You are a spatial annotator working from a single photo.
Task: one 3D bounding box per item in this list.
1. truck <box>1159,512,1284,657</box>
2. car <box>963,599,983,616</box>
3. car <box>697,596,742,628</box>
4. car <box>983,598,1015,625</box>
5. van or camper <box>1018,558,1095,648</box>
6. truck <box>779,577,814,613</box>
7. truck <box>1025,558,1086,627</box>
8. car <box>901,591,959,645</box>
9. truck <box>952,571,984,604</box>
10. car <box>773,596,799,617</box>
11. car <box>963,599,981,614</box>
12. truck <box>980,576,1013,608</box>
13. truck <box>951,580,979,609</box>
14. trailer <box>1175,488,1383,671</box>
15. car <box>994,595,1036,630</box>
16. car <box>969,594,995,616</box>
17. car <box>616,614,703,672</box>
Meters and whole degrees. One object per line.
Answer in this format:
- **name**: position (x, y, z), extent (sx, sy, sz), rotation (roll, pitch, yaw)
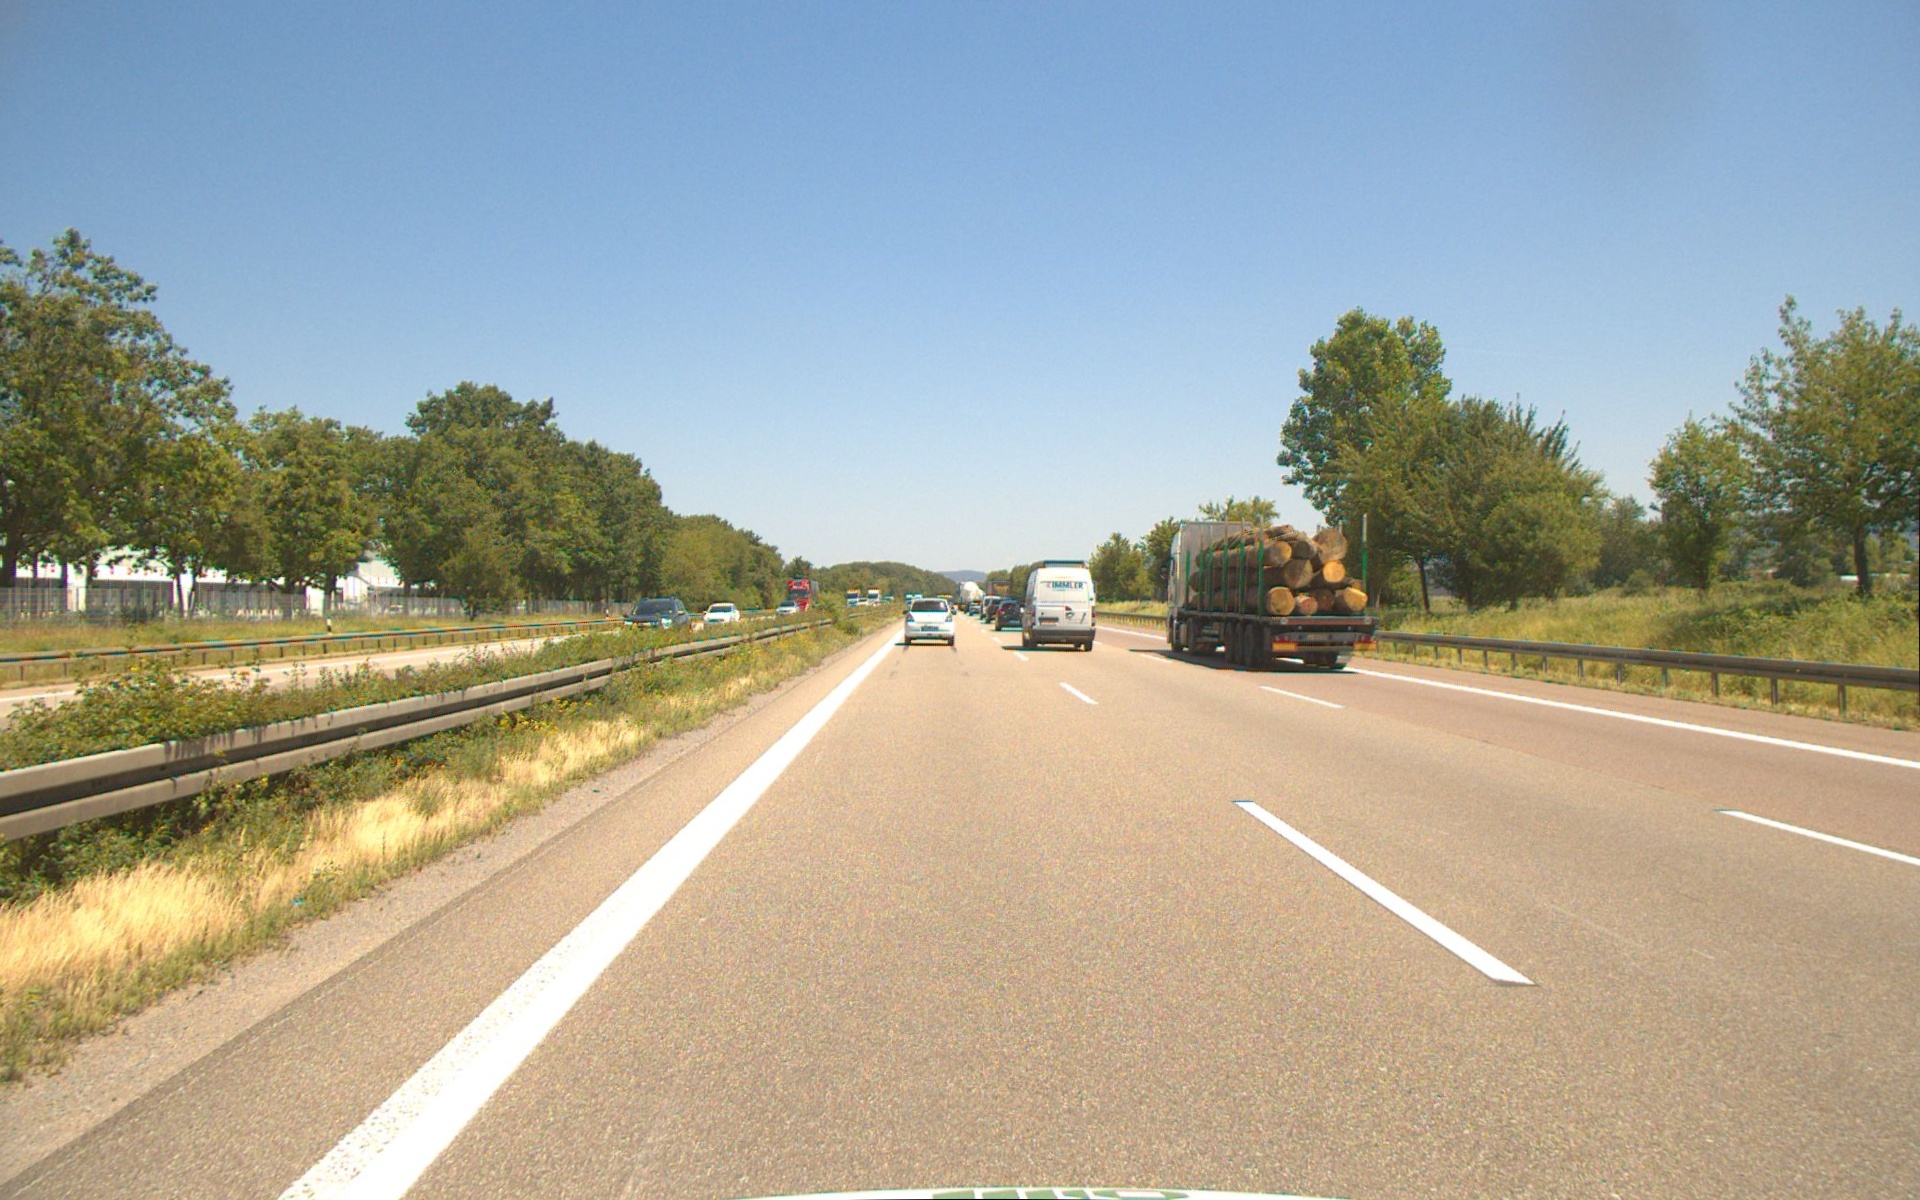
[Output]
- **truck**: position (7.849, -0.447, 50.404), extent (2.615, 4.064, 6.635), rotation (1, 0, -1)
- **car**: position (1.262, 0.715, 161.744), extent (1.820, 1.681, 3.998), rotation (1, 0, -2)
- **car**: position (-13.942, 0.687, 95.934), extent (1.954, 1.668, 4.857), rotation (-4, 0, -2)
- **car**: position (2.509, 0.756, 107.658), extent (1.820, 1.681, 3.998), rotation (1, 0, -2)
- **van or camper**: position (3.017, 0.094, 52.917), extent (2.016, 2.668, 5.984), rotation (1, 0, -1)
- **truck**: position (-19.038, -0.624, 193.276), extent (3.369, 3.999, 6.219), rotation (-2, 0, -1)
- **truck**: position (6.328, -0.467, 112.518), extent (3.016, 4.282, 16.841), rotation (2, 0, 0)
- **car**: position (-1.030, 0.585, 55.525), extent (1.820, 1.681, 3.998), rotation (2, 0, -2)
- **truck**: position (0.990, -1.665, 225.970), extent (3.193, 4.282, 16.832), rotation (2, 0, -3)
- **car**: position (-15.155, 0.571, 144.231), extent (1.808, 1.711, 4.813), rotation (-2, 0, -1)
- **car**: position (1.316, 0.701, 186.538), extent (1.820, 1.681, 3.998), rotation (1, 0, -2)
- **truck**: position (5.046, -1.136, 233.384), extent (3.193, 4.282, 16.832), rotation (2, 0, -3)
- **truck**: position (0.738, -0.784, 258.515), extent (3.193, 4.282, 16.832), rotation (2, 0, -3)
- **trailer**: position (7.955, -0.464, 43.463), extent (2.599, 4.028, 13.633), rotation (1, 0, -1)
- **car**: position (2.730, 0.605, 82.962), extent (1.820, 1.681, 3.998), rotation (1, 0, -2)
- **car**: position (1.697, 0.421, 129.629), extent (1.820, 1.681, 3.998), rotation (1, 0, -2)
- **car**: position (-9.875, 1.382, 54.624), extent (1.953, 1.668, 4.858), rotation (-4, 0, -1)
